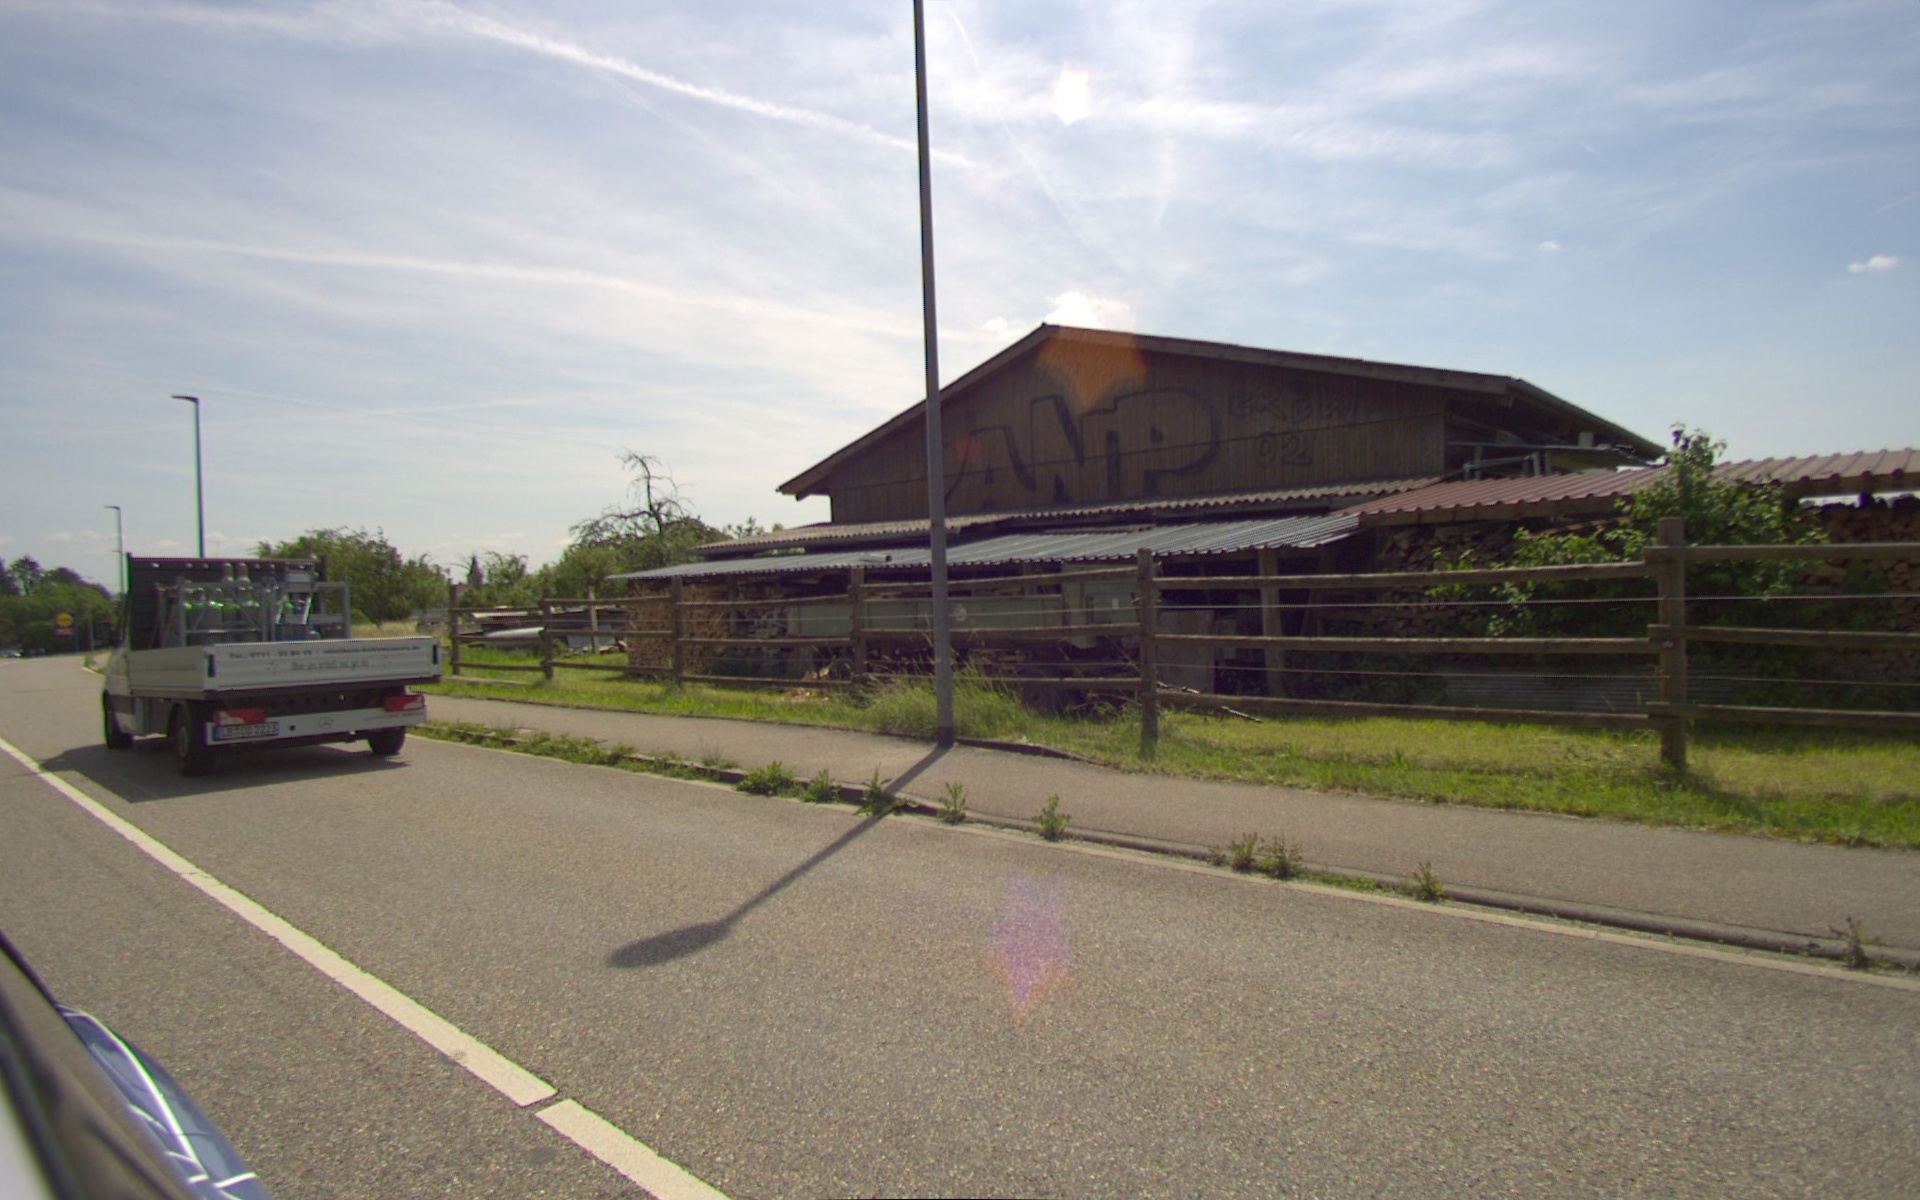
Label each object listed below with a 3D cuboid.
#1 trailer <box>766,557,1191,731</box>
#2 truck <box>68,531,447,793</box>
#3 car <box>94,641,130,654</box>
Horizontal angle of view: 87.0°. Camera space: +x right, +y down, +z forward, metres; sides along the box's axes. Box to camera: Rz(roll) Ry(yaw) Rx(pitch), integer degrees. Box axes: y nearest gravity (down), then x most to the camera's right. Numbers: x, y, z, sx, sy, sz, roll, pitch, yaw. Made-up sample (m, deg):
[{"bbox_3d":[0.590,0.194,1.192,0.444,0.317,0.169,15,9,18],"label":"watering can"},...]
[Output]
[{"bbox_3d":[0.039,0.495,12.428,5.027,1.716,2.132,-2,-1,42],"label":"trailer"},{"bbox_3d":[-8.520,0.619,11.916,6.489,2.310,2.199,-2,-1,42],"label":"truck"},{"bbox_3d":[-148.940,8.314,177.791,4.621,2.029,2.006,-2,0,-30],"label":"car"}]
